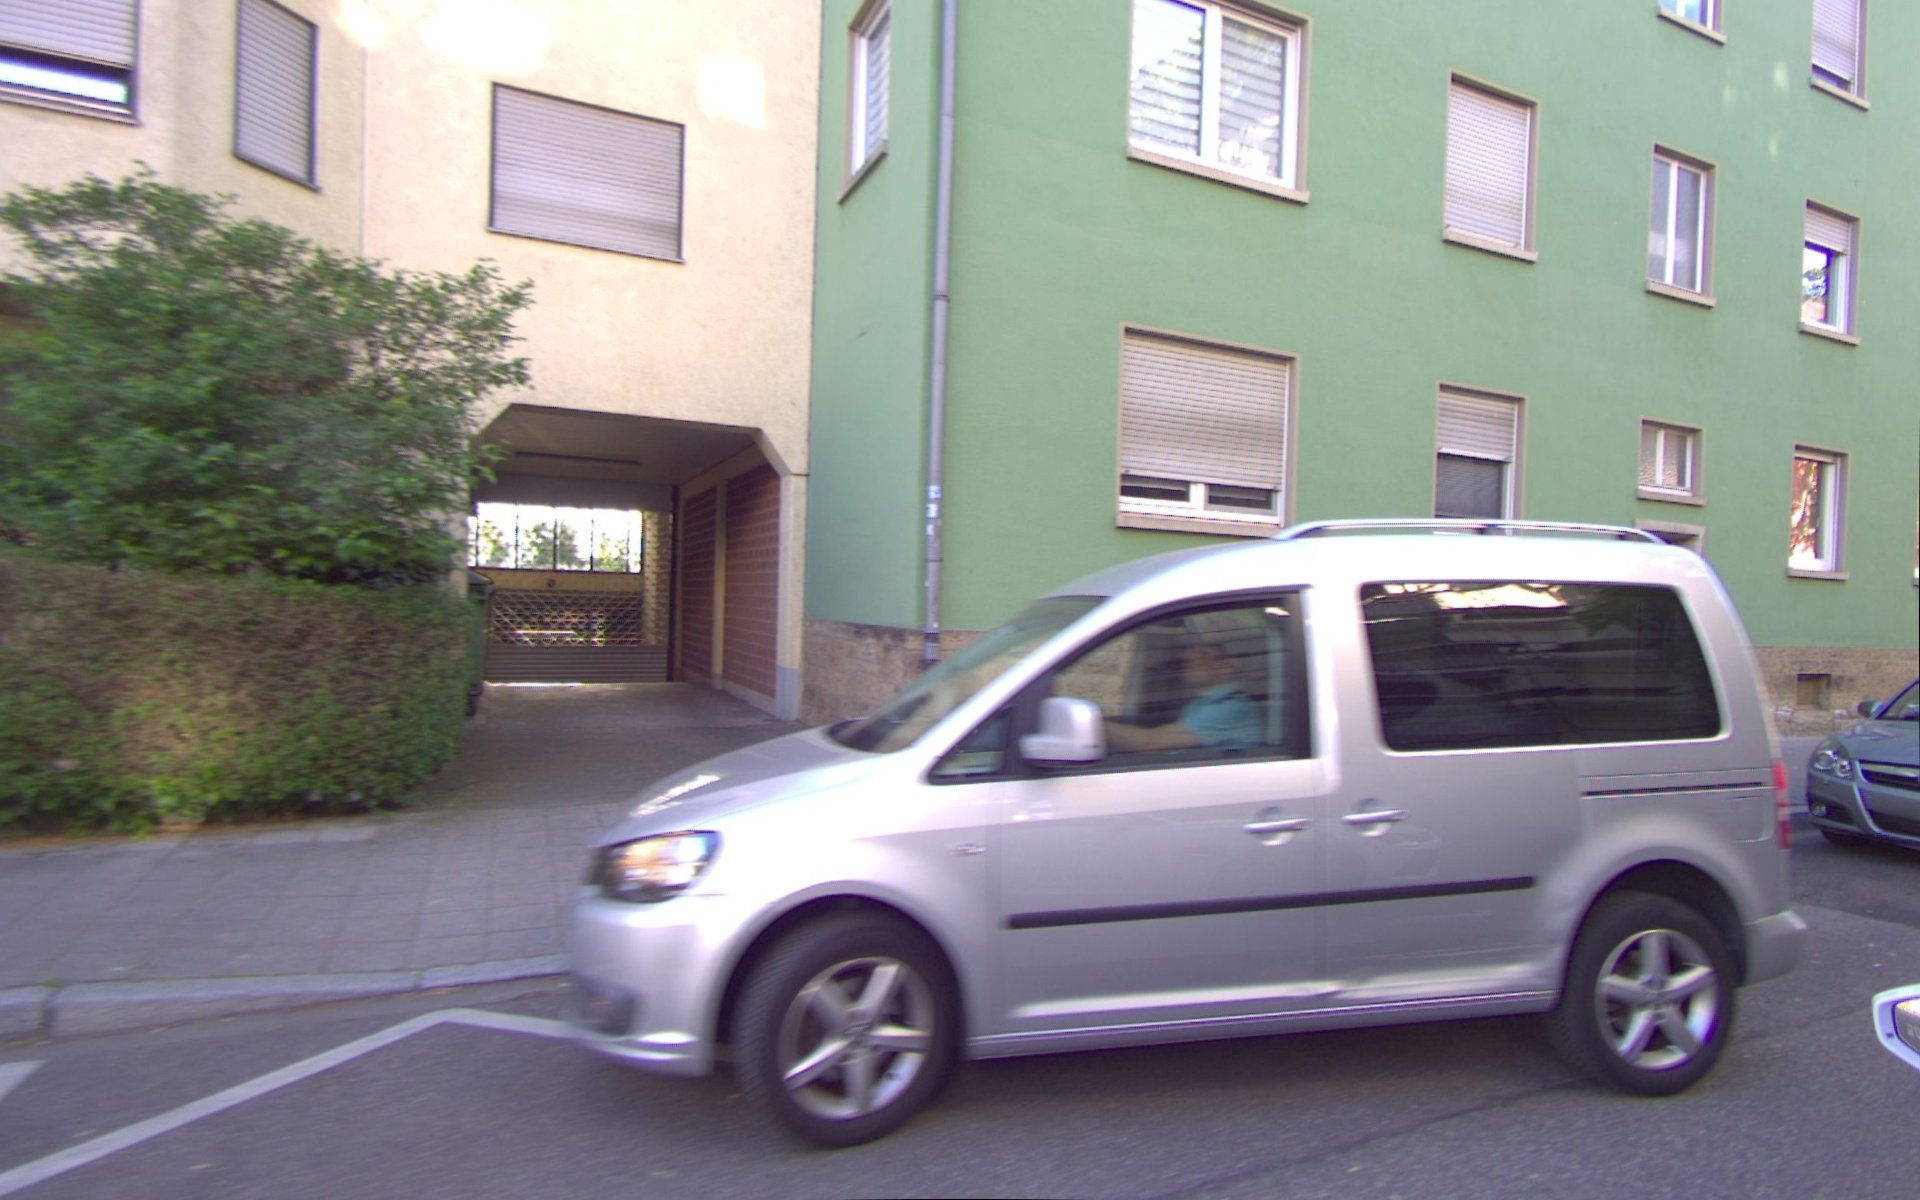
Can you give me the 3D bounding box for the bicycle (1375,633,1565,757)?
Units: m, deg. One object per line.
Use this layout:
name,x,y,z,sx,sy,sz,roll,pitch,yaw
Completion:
bicycle,4.998,0.910,9.813,1.943,1.090,0.485,2,4,-25

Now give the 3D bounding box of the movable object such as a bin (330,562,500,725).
movable object such as a bin,-5.306,0.382,9.919,1.325,1.451,1.468,2,2,-24

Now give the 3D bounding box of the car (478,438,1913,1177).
car,0.814,0.608,3.781,4.336,1.867,1.774,2,-2,-9

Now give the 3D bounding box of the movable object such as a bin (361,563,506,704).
movable object such as a bin,-5.857,0.347,11.300,1.325,1.451,1.338,2,2,-24

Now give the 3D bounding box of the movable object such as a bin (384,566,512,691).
movable object such as a bin,-6.407,0.335,12.675,1.325,1.451,1.338,2,2,-24

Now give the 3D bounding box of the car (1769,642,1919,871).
car,8.217,1.093,7.547,4.450,1.481,1.713,2,-3,-28
